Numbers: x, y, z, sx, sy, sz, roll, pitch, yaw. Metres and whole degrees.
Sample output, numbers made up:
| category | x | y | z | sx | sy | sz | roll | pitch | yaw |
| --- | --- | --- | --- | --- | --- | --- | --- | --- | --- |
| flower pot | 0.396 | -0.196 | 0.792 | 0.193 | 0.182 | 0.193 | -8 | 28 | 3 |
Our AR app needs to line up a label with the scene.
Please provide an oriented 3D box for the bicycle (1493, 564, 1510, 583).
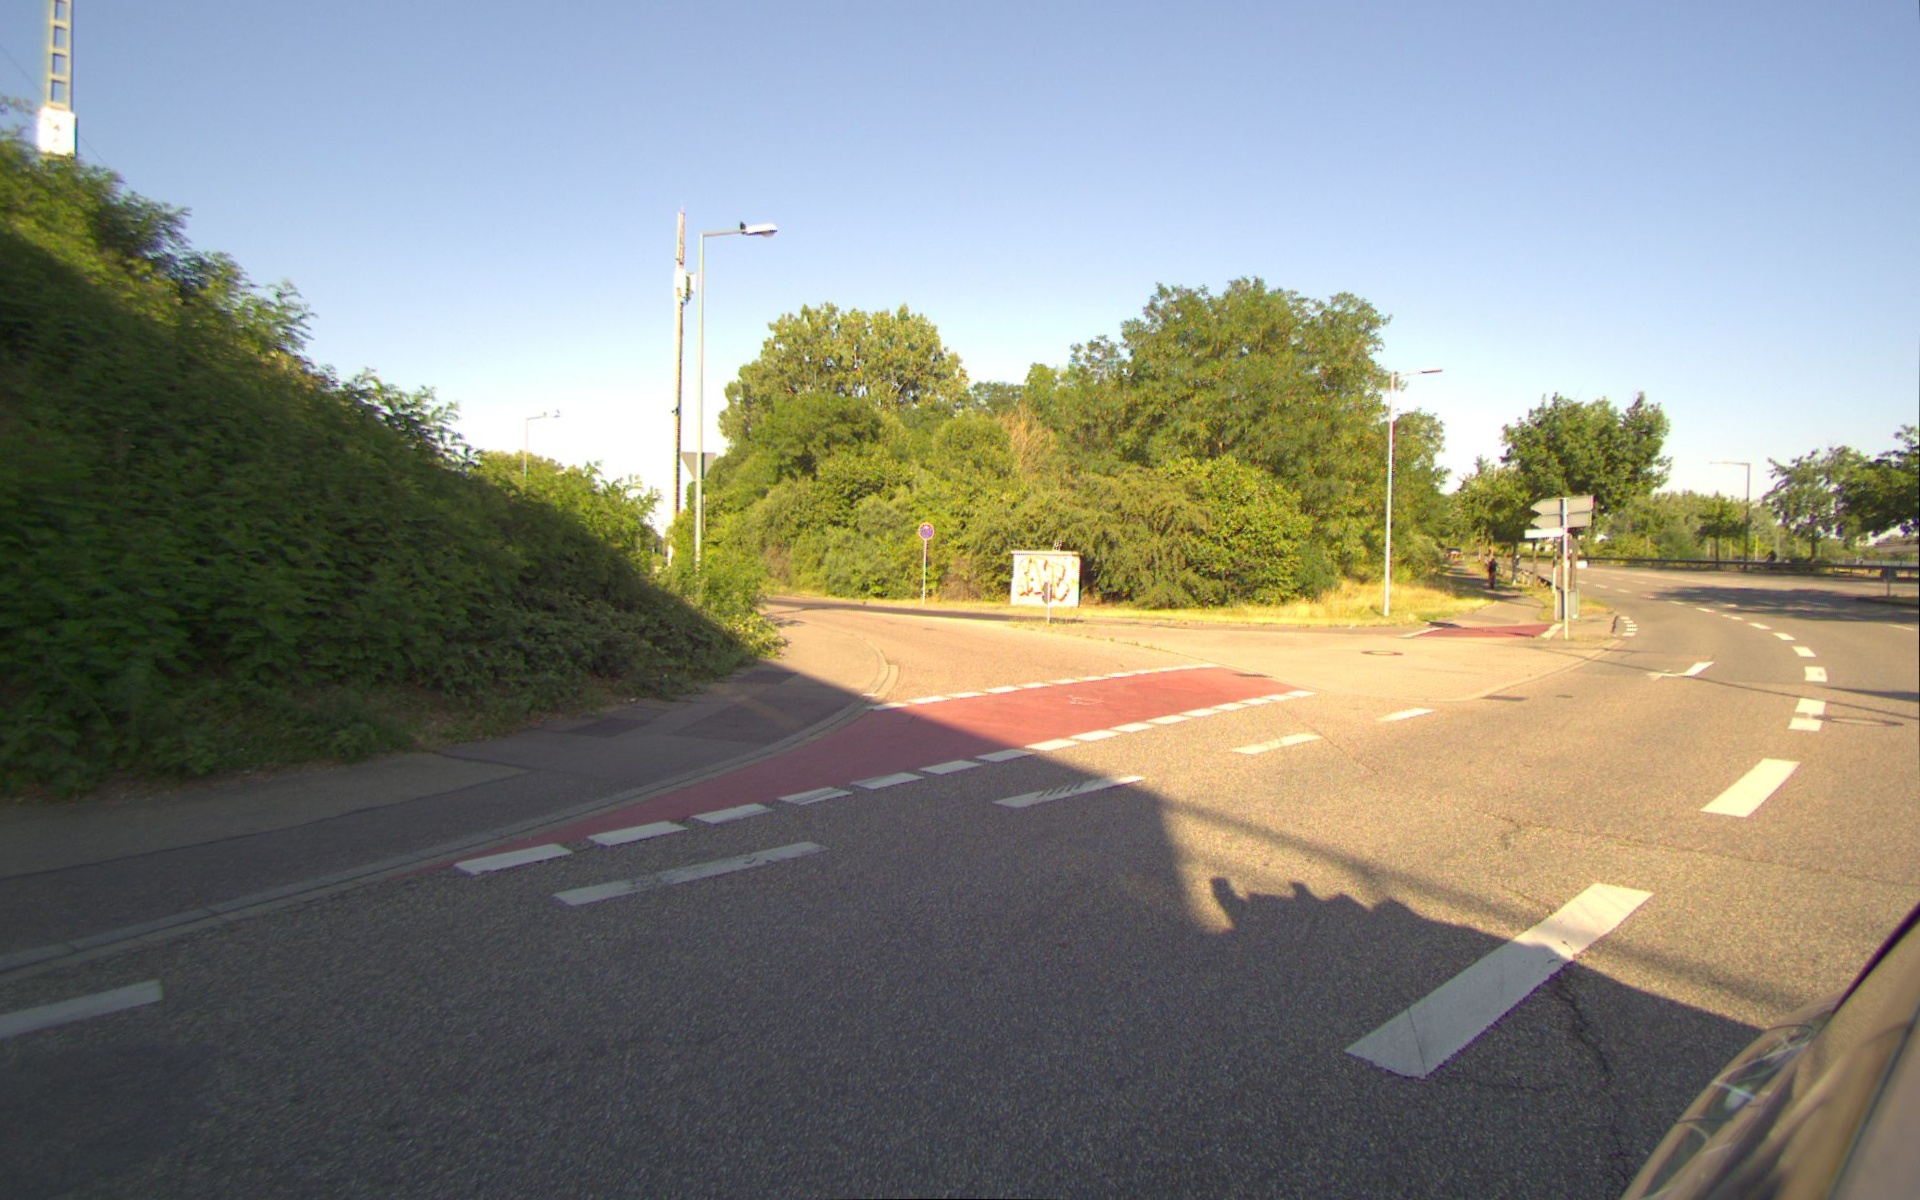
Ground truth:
| category | x | y | z | sx | sy | sz | roll | pitch | yaw |
| --- | --- | --- | --- | --- | --- | --- | --- | --- | --- |
| bicycle | 30.185 | -1.471 | 56.414 | 0.775 | 1.070 | 2.473 | 0 | 1 | 27 |

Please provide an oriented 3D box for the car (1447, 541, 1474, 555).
| category | x | y | z | sx | sy | sz | roll | pitch | yaw |
| --- | --- | --- | --- | --- | --- | --- | --- | --- | --- |
| car | 70.472 | -7.355 | 142.544 | 1.964 | 1.794 | 3.996 | -1 | 1 | 5 |

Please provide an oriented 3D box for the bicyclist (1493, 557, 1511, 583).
| category | x | y | z | sx | sy | sz | roll | pitch | yaw |
| --- | --- | --- | --- | --- | --- | --- | --- | --- | --- |
| bicyclist | 30.178 | -1.648 | 56.374 | 0.835 | 1.439 | 1.103 | 0 | 0 | 28 |
